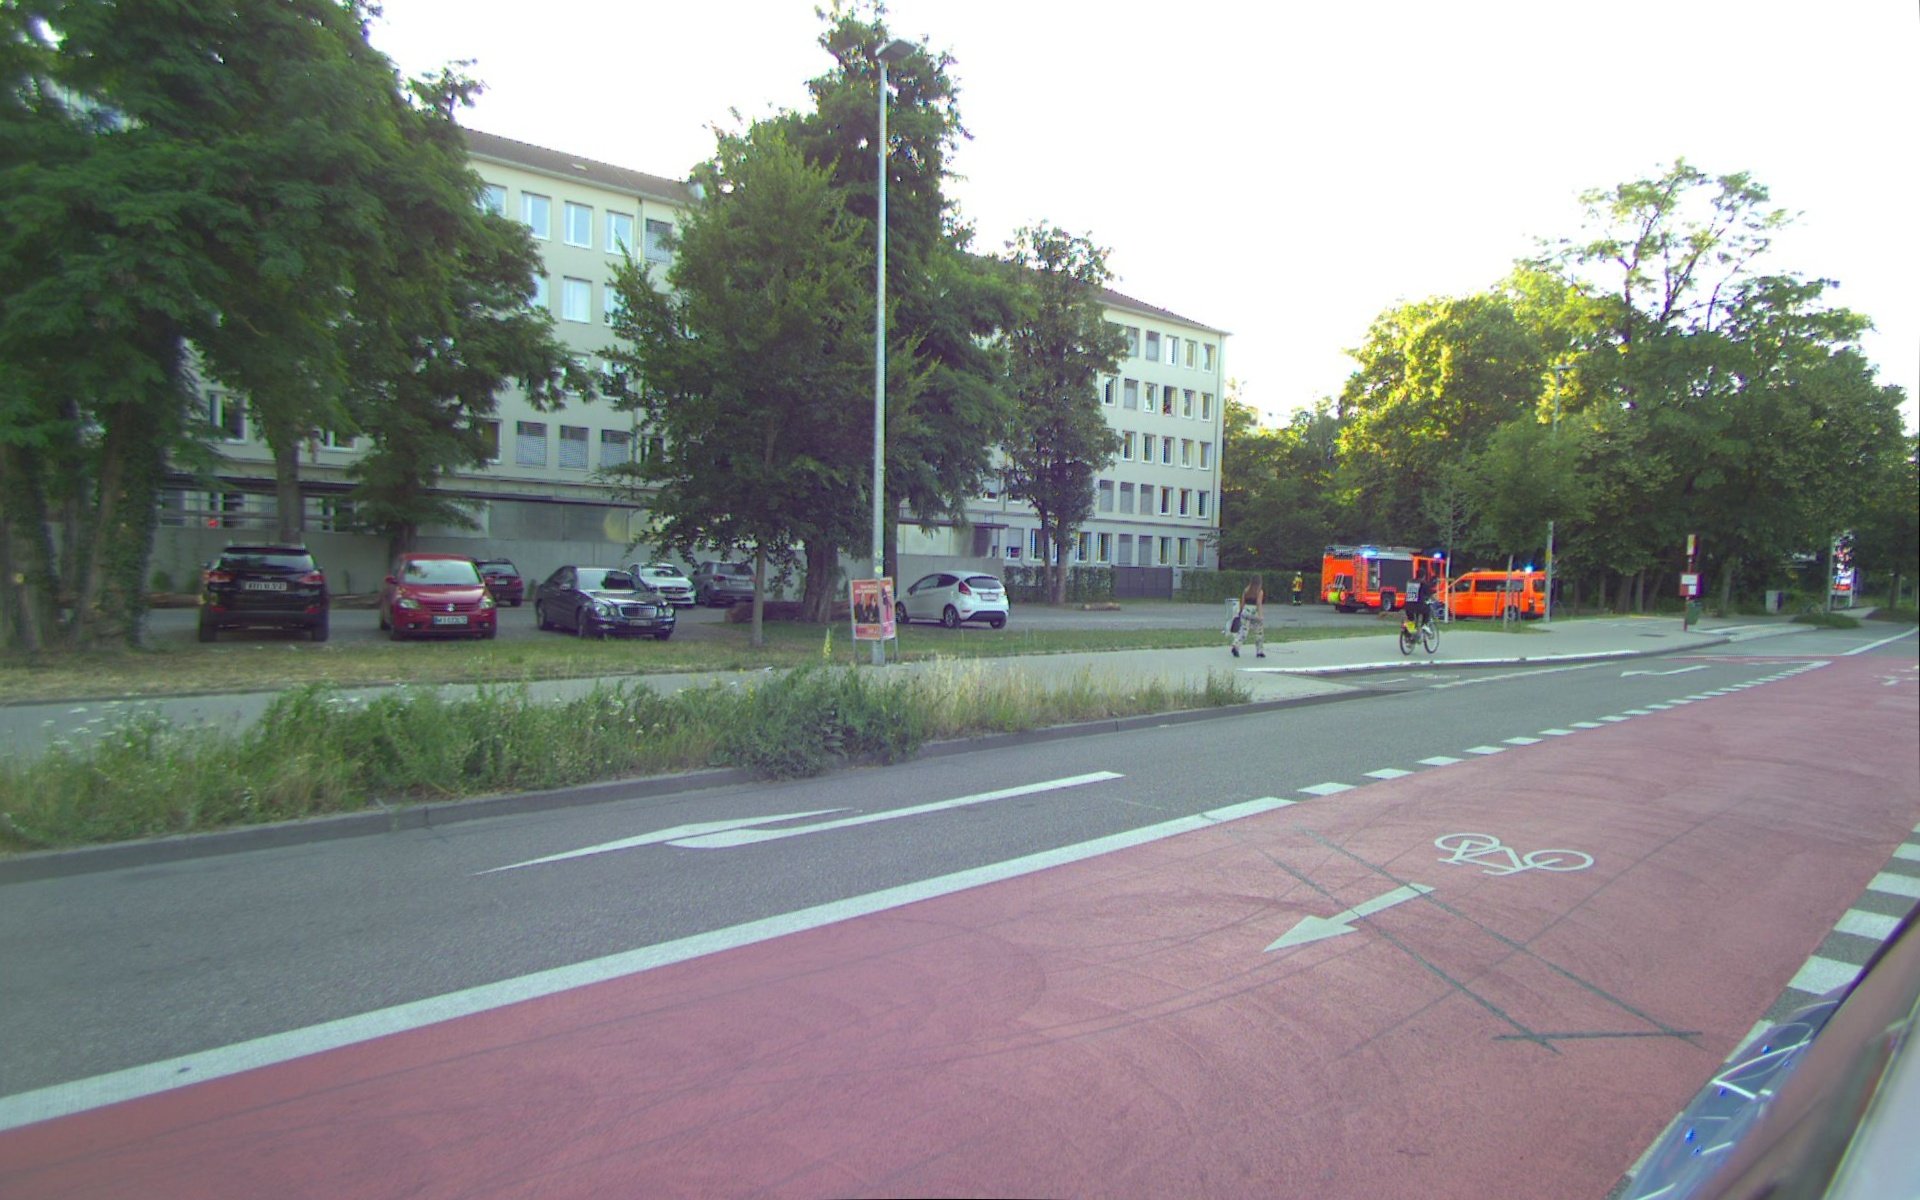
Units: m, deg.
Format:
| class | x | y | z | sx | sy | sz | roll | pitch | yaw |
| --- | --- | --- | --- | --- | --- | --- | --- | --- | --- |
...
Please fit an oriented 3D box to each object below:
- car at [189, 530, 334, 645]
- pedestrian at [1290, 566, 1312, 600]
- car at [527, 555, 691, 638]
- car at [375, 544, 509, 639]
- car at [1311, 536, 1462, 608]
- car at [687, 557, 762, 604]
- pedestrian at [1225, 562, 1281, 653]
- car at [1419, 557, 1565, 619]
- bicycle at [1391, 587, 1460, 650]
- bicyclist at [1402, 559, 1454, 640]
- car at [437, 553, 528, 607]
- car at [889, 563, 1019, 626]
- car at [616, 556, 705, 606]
| class | x | y | z | sx | sy | sz | roll | pitch | yaw |
| --- | --- | --- | --- | --- | --- | --- | --- | --- | --- |
| car | -12.291 | -0.293 | 17.864 | 1.882 | 1.761 | 4.241 | 0 | 2 | -35 |
| pedestrian | 18.674 | -0.939 | 55.464 | 0.669 | 1.864 | 0.847 | 1 | 1 | -31 |
| car | -7.384 | -0.142 | 20.990 | 1.883 | 1.482 | 4.519 | 0 | 3 | -37 |
| car | -10.109 | -0.232 | 19.598 | 1.882 | 1.630 | 4.003 | 0 | 2 | -33 |
| car | 20.967 | -1.351 | 49.517 | 8.138 | 3.283 | 2.775 | 0 | 2 | -34 |
| car | -8.202 | -0.702 | 35.084 | 1.734 | 1.477 | 3.320 | 1 | 2 | -27 |
| pedestrian | 5.440 | 0.127 | 18.785 | 0.676 | 1.642 | 0.682 | 1 | 2 | -41 |
| car | 22.781 | -0.570 | 43.554 | 1.963 | 2.422 | 5.168 | 0 | 2 | -37 |
| bicycle | 9.759 | 0.372 | 21.195 | 1.866 | 1.256 | 0.571 | 0 | 2 | -41 |
| bicyclist | 9.806 | -0.020 | 21.219 | 1.019 | 1.652 | 0.571 | 0 | 2 | -41 |
| car | -14.525 | -0.638 | 30.700 | 1.738 | 1.477 | 3.626 | 0 | 3 | -38 |
| car | -0.221 | -0.191 | 26.856 | 1.633 | 1.477 | 3.667 | 0 | 2 | -35 |
| car | -10.017 | -0.660 | 33.686 | 1.880 | 1.540 | 3.921 | 0 | 2 | -32 |
